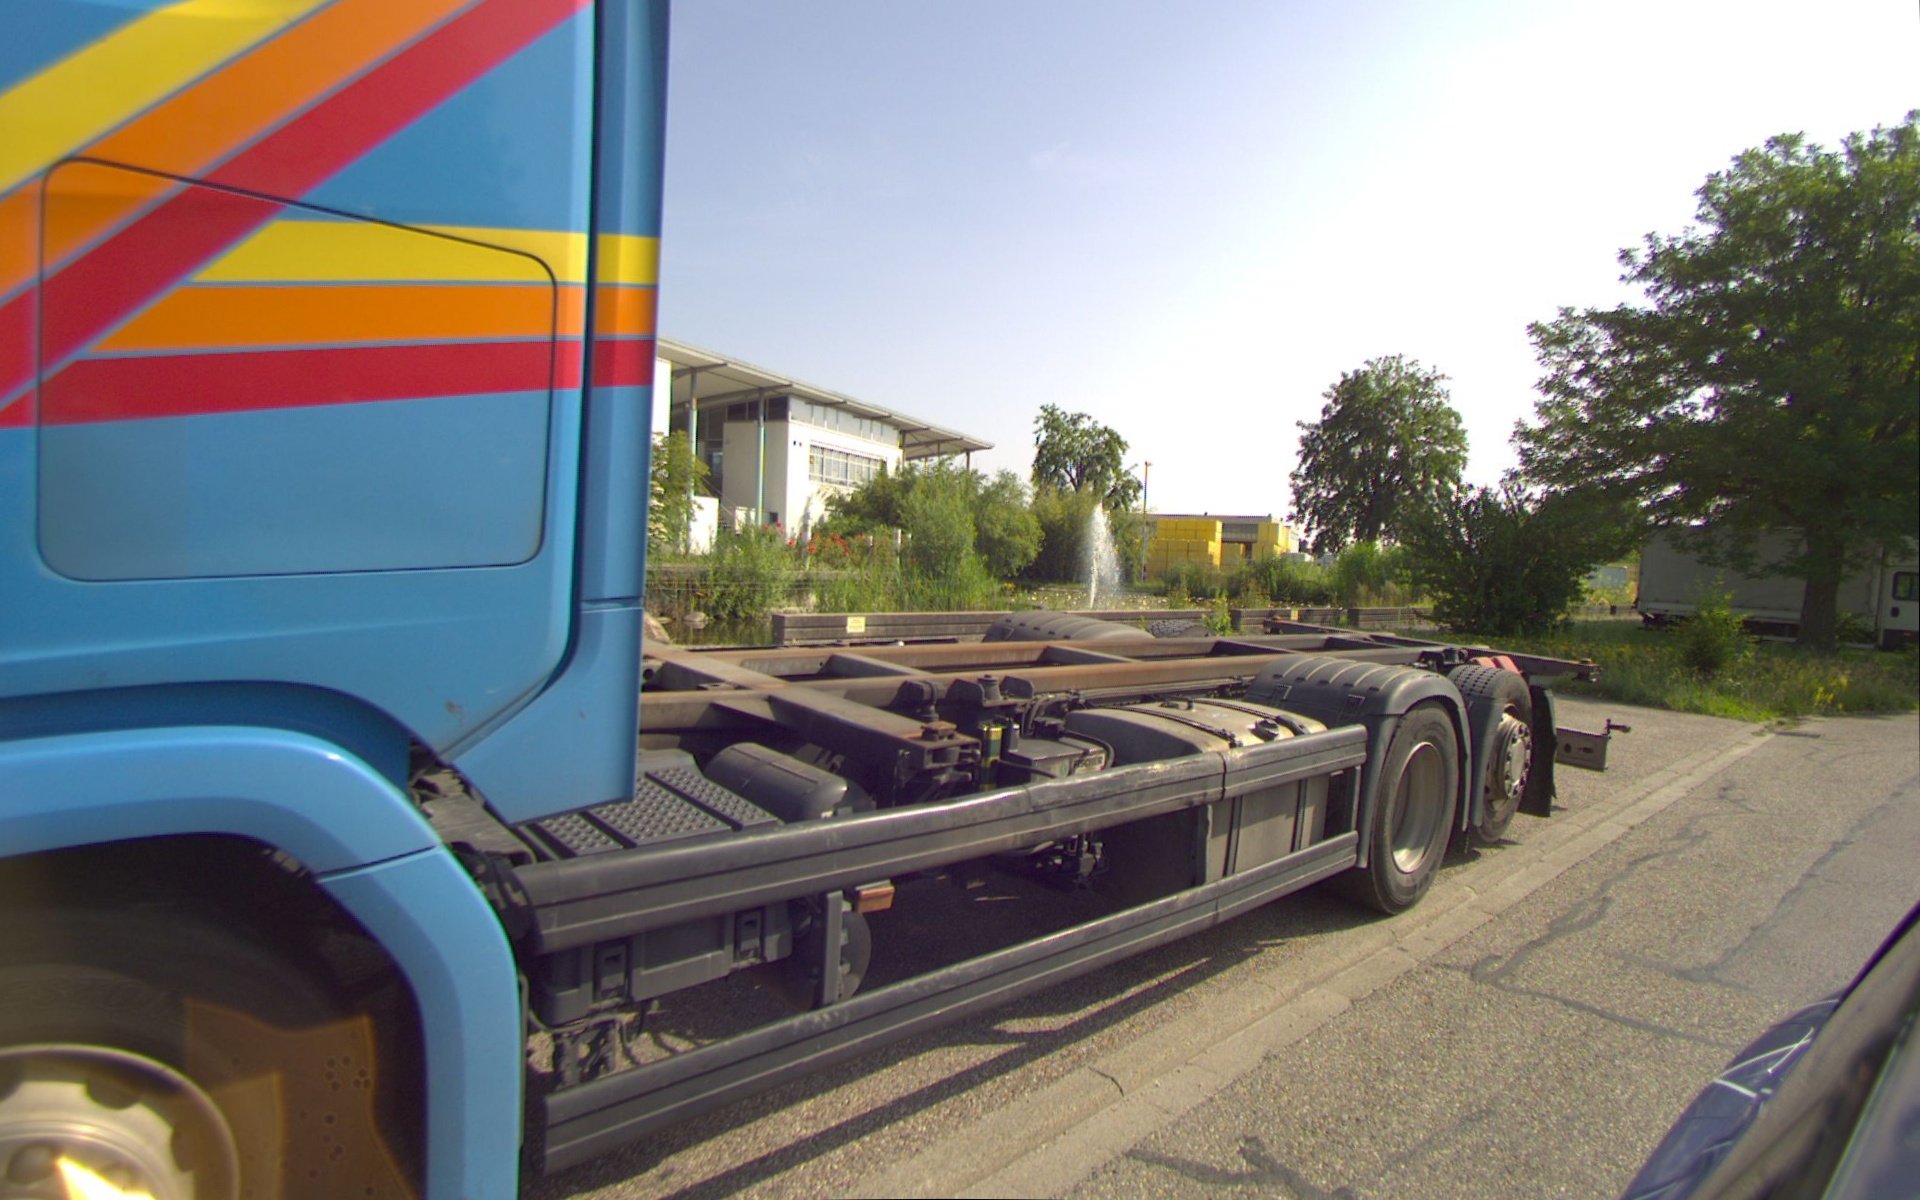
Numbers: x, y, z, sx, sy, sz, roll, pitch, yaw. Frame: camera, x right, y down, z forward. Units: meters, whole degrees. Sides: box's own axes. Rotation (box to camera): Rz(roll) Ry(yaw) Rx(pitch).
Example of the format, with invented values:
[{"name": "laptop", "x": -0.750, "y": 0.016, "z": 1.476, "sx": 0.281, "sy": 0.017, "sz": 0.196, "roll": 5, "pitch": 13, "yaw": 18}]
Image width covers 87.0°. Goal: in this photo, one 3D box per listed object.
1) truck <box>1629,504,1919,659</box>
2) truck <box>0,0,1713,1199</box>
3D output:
[{"name": "truck", "x": 21.283, "y": -0.529, "z": 24.278, "sx": 2.696, "sy": 3.410, "sz": 8.218, "roll": -1, "pitch": 5, "yaw": -44}, {"name": "truck", "x": 0.328, "y": -0.629, "z": 4.476, "sx": 9.593, "sy": 3.575, "sz": 2.894, "roll": -1, "pitch": 7, "yaw": -44}]
